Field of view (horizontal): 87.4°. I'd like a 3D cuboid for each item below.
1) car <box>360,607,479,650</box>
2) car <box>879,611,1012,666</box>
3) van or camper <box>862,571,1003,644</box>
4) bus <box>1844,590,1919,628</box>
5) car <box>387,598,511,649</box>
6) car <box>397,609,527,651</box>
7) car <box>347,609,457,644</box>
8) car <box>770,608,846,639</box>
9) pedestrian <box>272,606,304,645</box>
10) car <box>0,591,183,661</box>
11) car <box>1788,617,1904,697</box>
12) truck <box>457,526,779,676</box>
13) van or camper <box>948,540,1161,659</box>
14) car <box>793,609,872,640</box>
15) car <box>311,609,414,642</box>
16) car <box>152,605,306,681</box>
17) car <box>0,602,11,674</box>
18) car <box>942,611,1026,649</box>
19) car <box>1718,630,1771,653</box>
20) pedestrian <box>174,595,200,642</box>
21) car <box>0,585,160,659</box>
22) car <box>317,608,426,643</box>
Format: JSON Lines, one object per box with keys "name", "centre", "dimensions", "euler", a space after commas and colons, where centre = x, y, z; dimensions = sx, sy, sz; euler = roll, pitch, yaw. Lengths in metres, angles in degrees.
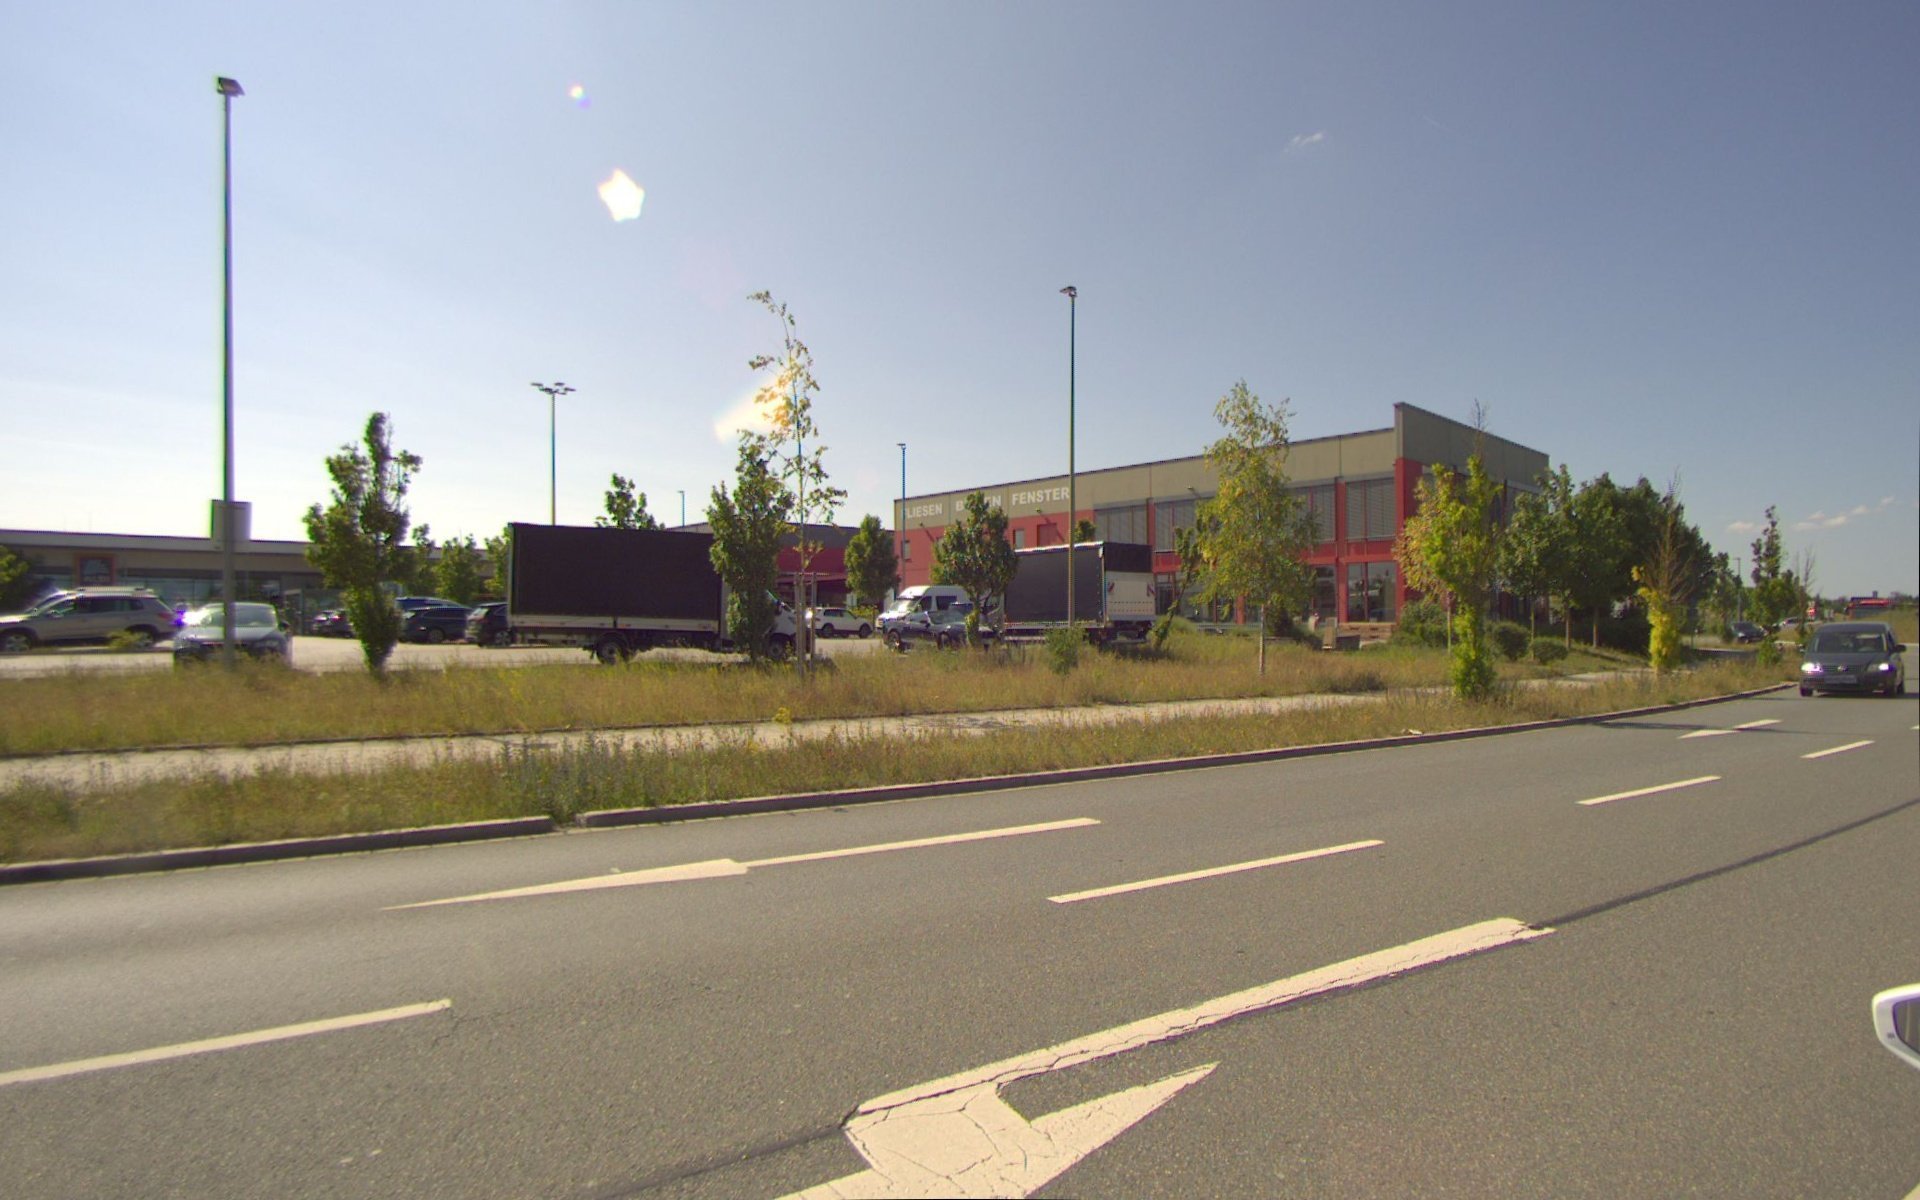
{"name": "car", "centre": [-23.926, 1.268, 44.562], "dimensions": [4.350, 1.797, 1.815], "euler": [1, -2, -43]}
{"name": "car", "centre": [-0.530, 1.146, 30.845], "dimensions": [1.822, 1.572, 4.333], "euler": [1, -2, -39]}
{"name": "van or camper", "centre": [-1.205, 0.414, 48.916], "dimensions": [7.188, 3.314, 2.406], "euler": [2, -2, -44]}
{"name": "bus", "centre": [84.984, 0.722, 89.802], "dimensions": [12.000, 3.120, 2.787], "euler": [-2, -1, -16]}
{"name": "car", "centre": [-21.536, 1.001, 42.448], "dimensions": [4.350, 2.021, 1.815], "euler": [1, -2, -43]}
{"name": "car", "centre": [-19.977, 1.195, 40.446], "dimensions": [1.813, 1.583, 4.355], "euler": [-1, -2, 44]}
{"name": "car", "centre": [-26.736, 1.274, 48.209], "dimensions": [4.350, 1.613, 1.815], "euler": [1, -2, -43]}
{"name": "car", "centre": [-8.498, 1.330, 56.475], "dimensions": [1.643, 1.636, 4.059], "euler": [-1, -2, 44]}
{"name": "pedestrian", "centre": [-35.792, 1.362, 53.472], "dimensions": [1.242, 2.075, 1.079], "euler": [1, -2, -43]}
{"name": "car", "centre": [-24.846, 0.741, 28.452], "dimensions": [4.350, 1.847, 1.815], "euler": [1, -2, -43]}
{"name": "car", "centre": [22.117, 1.364, 25.025], "dimensions": [1.931, 1.818, 4.400], "euler": [-3, -3, 44]}
{"name": "truck", "centre": [-8.338, 0.081, 25.325], "dimensions": [7.360, 3.510, 2.320], "euler": [0, -1, -10]}
{"name": "van or camper", "centre": [2.891, 0.065, 33.296], "dimensions": [2.533, 3.514, 7.634], "euler": [1, -2, -38]}
{"name": "car", "centre": [-6.799, 1.318, 53.803], "dimensions": [1.643, 1.636, 4.059], "euler": [-1, -2, 44]}
{"name": "car", "centre": [-30.911, 1.301, 52.045], "dimensions": [4.350, 1.644, 1.815], "euler": [1, -2, -43]}
{"name": "car", "centre": [-14.935, 0.841, 20.787], "dimensions": [1.951, 1.402, 4.406], "euler": [1, -1, -28]}
{"name": "car", "centre": [-19.603, 0.736, 18.574], "dimensions": [1.815, 1.478, 4.557], "euler": [1, -1, -28]}
{"name": "car", "centre": [1.146, 1.379, 46.891], "dimensions": [1.643, 1.693, 4.059], "euler": [-1, -2, 44]}
{"name": "car", "centre": [55.516, 2.935, 71.188], "dimensions": [1.730, 1.563, 4.240], "euler": [-3, -3, 21]}
{"name": "pedestrian", "centre": [-29.364, 0.720, 38.161], "dimensions": [0.714, 1.772, 0.653], "euler": [1, -1, -42]}
{"name": "car", "centre": [-27.010, 0.667, 30.325], "dimensions": [4.350, 2.092, 1.815], "euler": [1, -2, -43]}
{"name": "car", "centre": [-29.088, 1.267, 49.723], "dimensions": [4.350, 1.654, 1.815], "euler": [1, -2, -43]}
